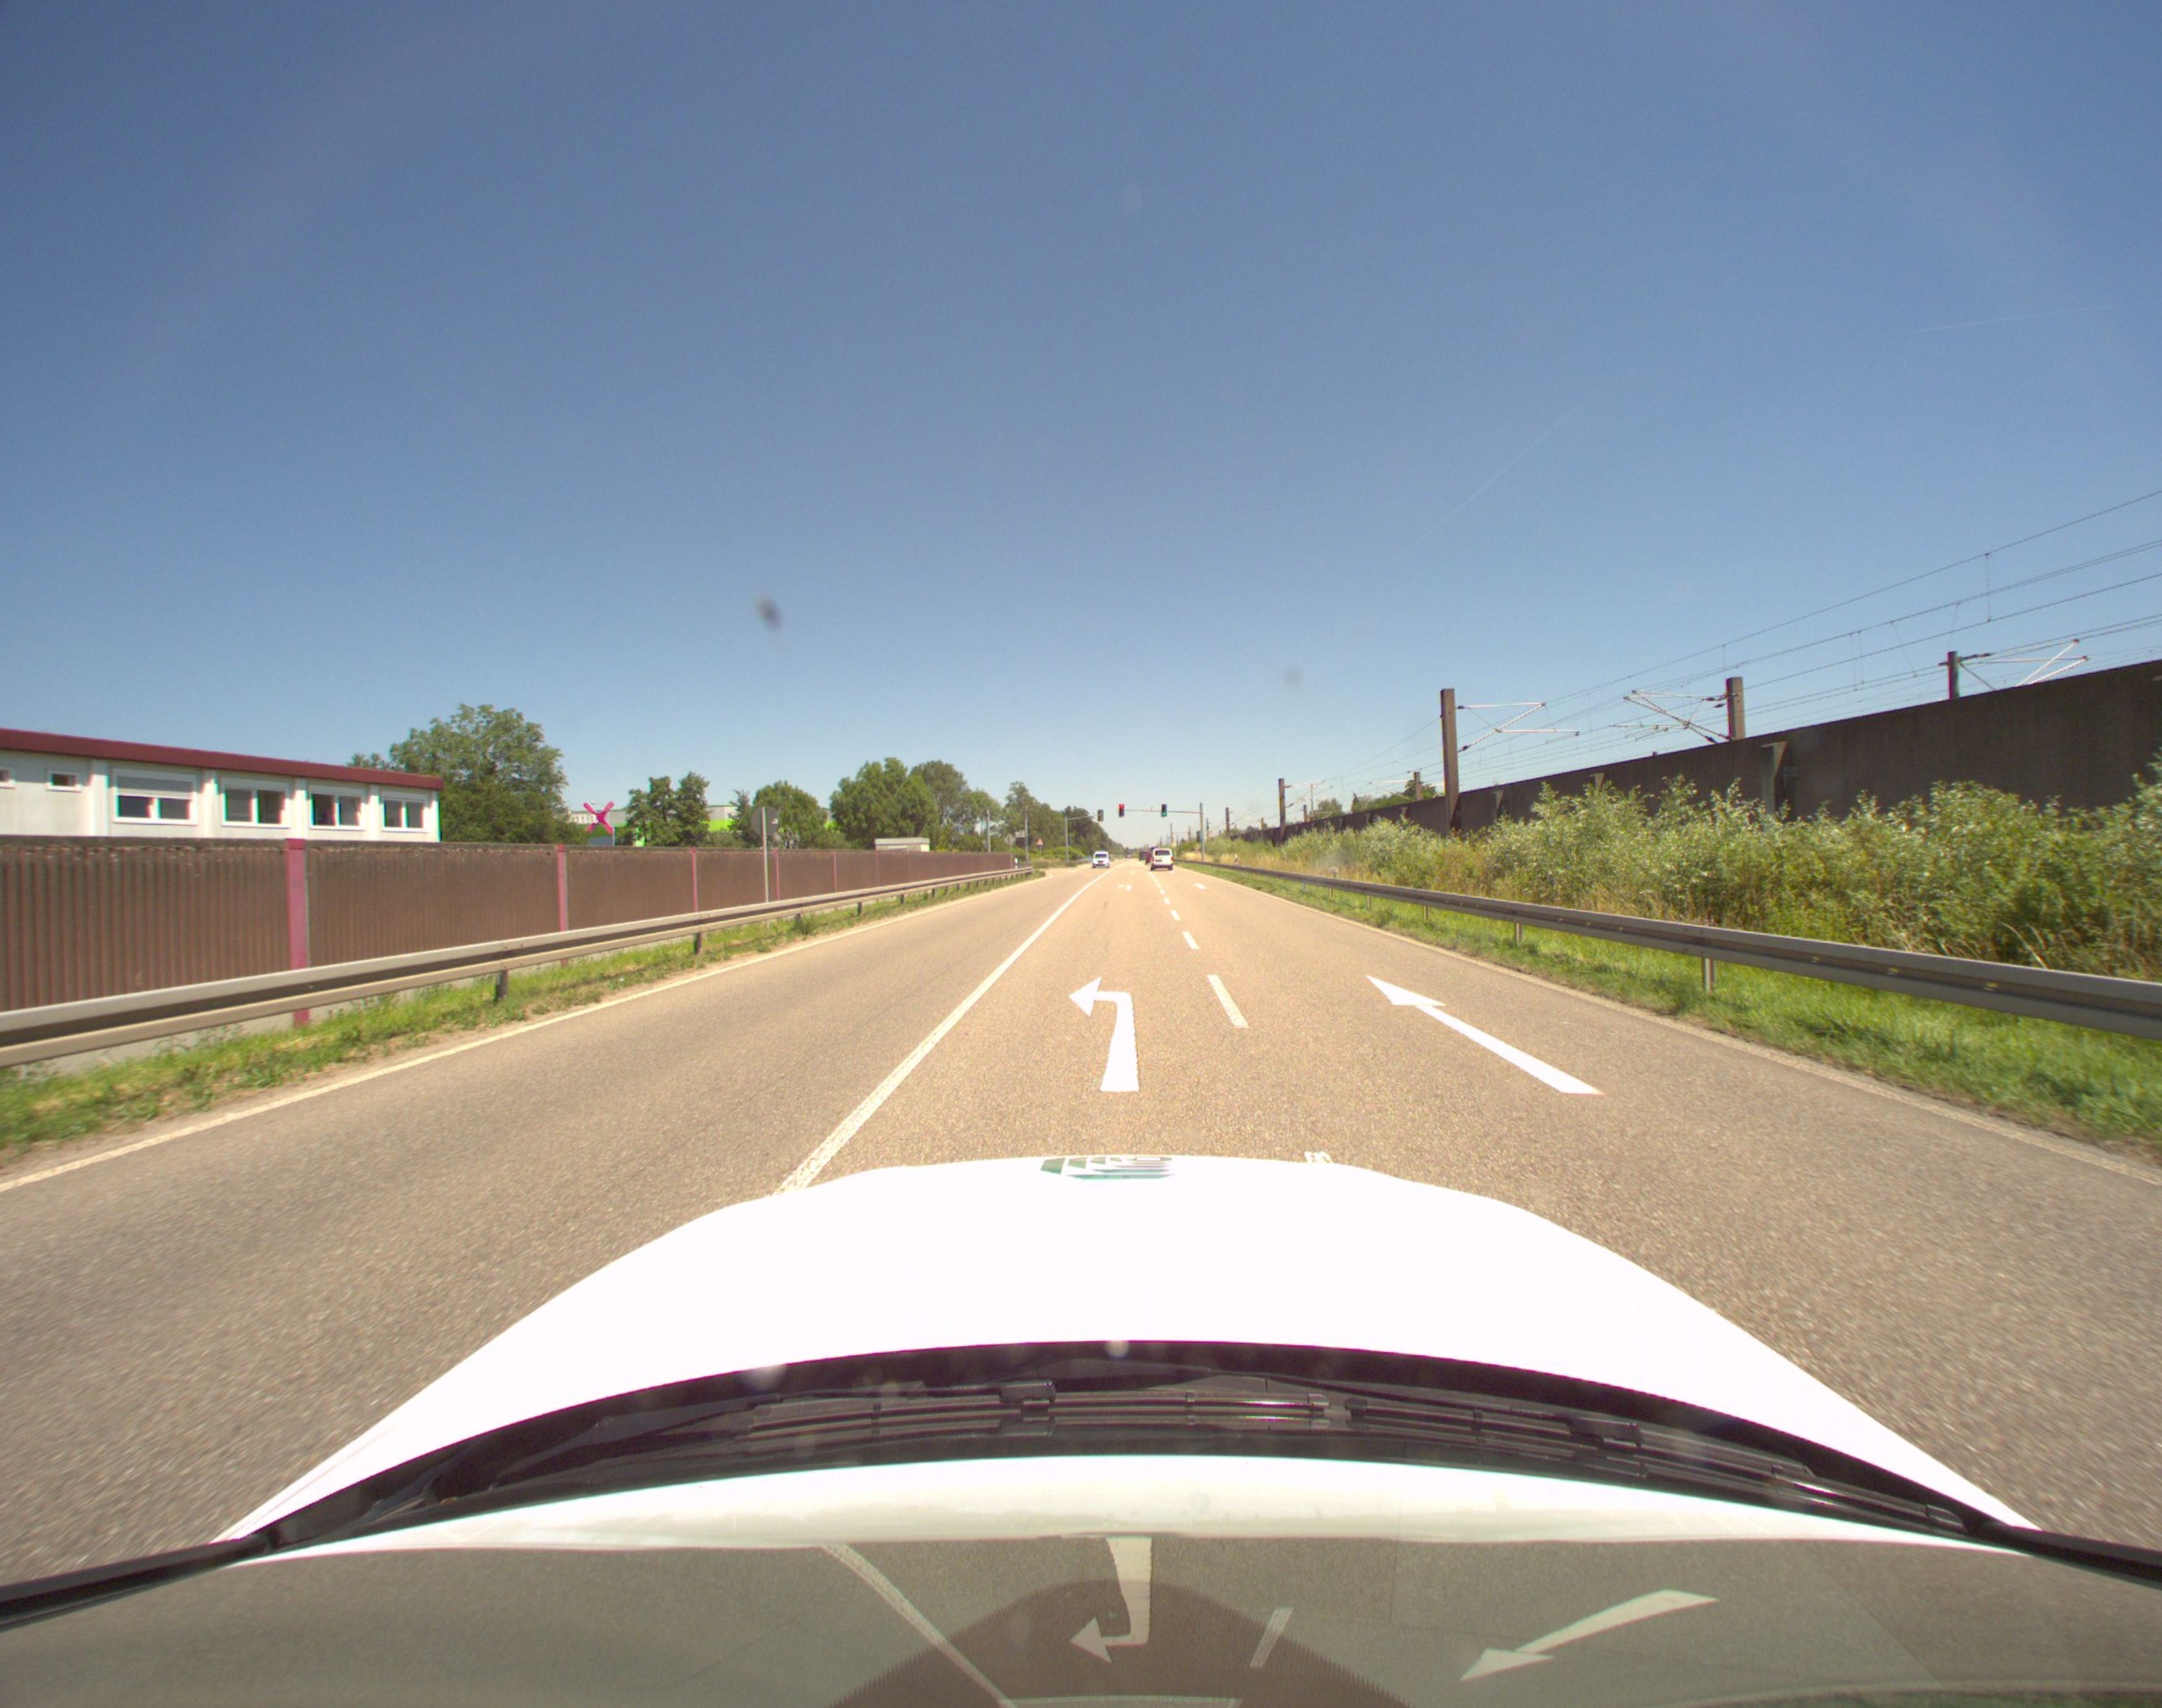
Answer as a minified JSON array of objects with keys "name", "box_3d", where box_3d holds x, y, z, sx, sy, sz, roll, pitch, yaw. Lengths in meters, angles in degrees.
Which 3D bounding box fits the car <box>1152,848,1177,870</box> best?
[{"name":"car","box_3d":[7.430,0.426,72.838,1.985,1.983,4.062,0,0,3]}]

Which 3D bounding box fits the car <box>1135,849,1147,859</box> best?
[{"name":"car","box_3d":[12.259,0.086,166.469,2.146,1.968,4.545,-1,0,2]}]

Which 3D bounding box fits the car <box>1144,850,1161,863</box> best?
[{"name":"car","box_3d":[9.856,0.296,112.618,2.012,1.726,4.545,-1,0,2]}]

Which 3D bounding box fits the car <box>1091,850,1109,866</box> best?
[{"name":"car","box_3d":[2.057,0.429,89.973,1.881,1.740,4.777,-1,0,1]}]

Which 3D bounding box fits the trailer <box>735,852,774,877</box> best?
[{"name":"trailer","box_3d":[-37.621,1.218,93.858,3.779,2.764,1.804,-1,0,-43]}]
